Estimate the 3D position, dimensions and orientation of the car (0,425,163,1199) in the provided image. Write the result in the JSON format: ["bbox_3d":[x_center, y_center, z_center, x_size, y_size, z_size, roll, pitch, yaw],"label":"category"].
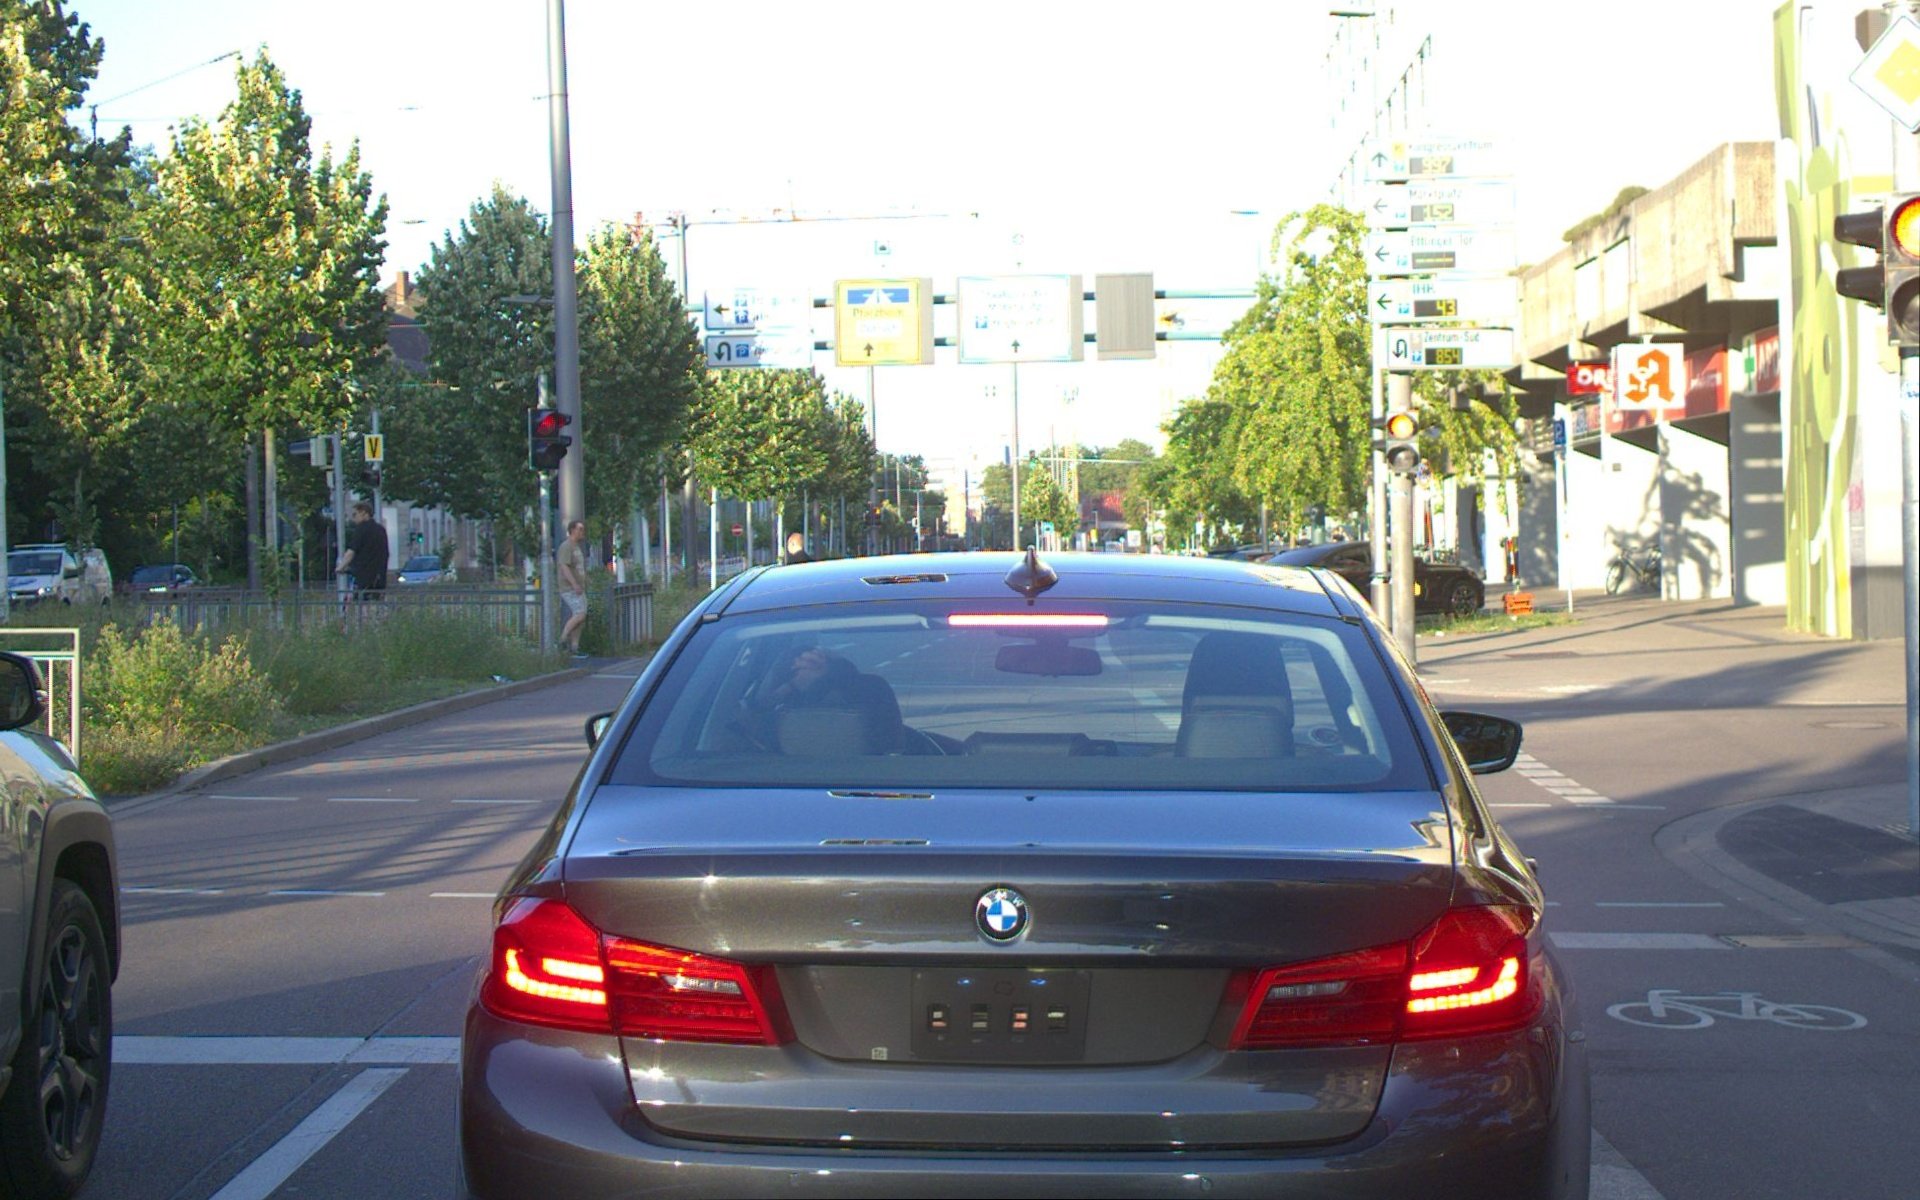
[{"bbox_3d":[-2.792,0.507,6.010,1.854,1.653,4.269,0,2,-1],"label":"car"}]

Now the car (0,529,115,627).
[{"bbox_3d":[-21.258,-0.551,80.910,1.993,2.160,4.752,0,2,-5],"label":"car"}]

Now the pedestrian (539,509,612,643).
[{"bbox_3d":[-4.981,-0.312,44.587,0.835,1.706,0.648,-1,1,-1],"label":"pedestrian"}]

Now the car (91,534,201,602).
[{"bbox_3d":[-22.365,-0.907,94.637,1.993,1.738,4.751,0,2,-1],"label":"car"}]

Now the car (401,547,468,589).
[{"bbox_3d":[-19.244,-1.170,126.060,1.800,1.476,3.783,-1,1,1],"label":"car"}]

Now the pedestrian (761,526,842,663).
[{"bbox_3d":[-1.861,-0.071,40.455,0.835,1.581,0.812,-1,1,4],"label":"pedestrian"}]

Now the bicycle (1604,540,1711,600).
[{"bbox_3d":[14.036,-0.605,69.212,2.017,1.145,0.690,2,0,7],"label":"bicycle"}]

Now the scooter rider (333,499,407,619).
[{"bbox_3d":[-7.584,-0.524,44.186,0.820,1.509,0.653,-1,1,-2],"label":"scooter rider"}]

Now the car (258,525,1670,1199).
[{"bbox_3d":[0.137,0.621,6.972,1.932,1.476,4.522,0,2,4],"label":"car"}]

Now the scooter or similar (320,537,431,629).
[{"bbox_3d":[-7.507,-0.221,44.175,1.329,1.149,0.513,-1,1,-2],"label":"scooter or similar"}]

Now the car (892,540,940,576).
[{"bbox_3d":[-1.872,-1.810,147.281,1.979,1.428,4.843,0,2,0],"label":"car"}]

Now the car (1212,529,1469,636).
[{"bbox_3d":[6.324,-0.322,56.921,4.256,1.653,1.860,-2,3,-42],"label":"car"}]

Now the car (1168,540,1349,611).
[{"bbox_3d":[7.434,-0.623,85.439,4.255,1.653,1.860,-1,2,-34],"label":"car"}]

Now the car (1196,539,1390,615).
[{"bbox_3d":[7.691,-0.553,79.253,4.255,1.653,1.860,-1,2,-35],"label":"car"}]
